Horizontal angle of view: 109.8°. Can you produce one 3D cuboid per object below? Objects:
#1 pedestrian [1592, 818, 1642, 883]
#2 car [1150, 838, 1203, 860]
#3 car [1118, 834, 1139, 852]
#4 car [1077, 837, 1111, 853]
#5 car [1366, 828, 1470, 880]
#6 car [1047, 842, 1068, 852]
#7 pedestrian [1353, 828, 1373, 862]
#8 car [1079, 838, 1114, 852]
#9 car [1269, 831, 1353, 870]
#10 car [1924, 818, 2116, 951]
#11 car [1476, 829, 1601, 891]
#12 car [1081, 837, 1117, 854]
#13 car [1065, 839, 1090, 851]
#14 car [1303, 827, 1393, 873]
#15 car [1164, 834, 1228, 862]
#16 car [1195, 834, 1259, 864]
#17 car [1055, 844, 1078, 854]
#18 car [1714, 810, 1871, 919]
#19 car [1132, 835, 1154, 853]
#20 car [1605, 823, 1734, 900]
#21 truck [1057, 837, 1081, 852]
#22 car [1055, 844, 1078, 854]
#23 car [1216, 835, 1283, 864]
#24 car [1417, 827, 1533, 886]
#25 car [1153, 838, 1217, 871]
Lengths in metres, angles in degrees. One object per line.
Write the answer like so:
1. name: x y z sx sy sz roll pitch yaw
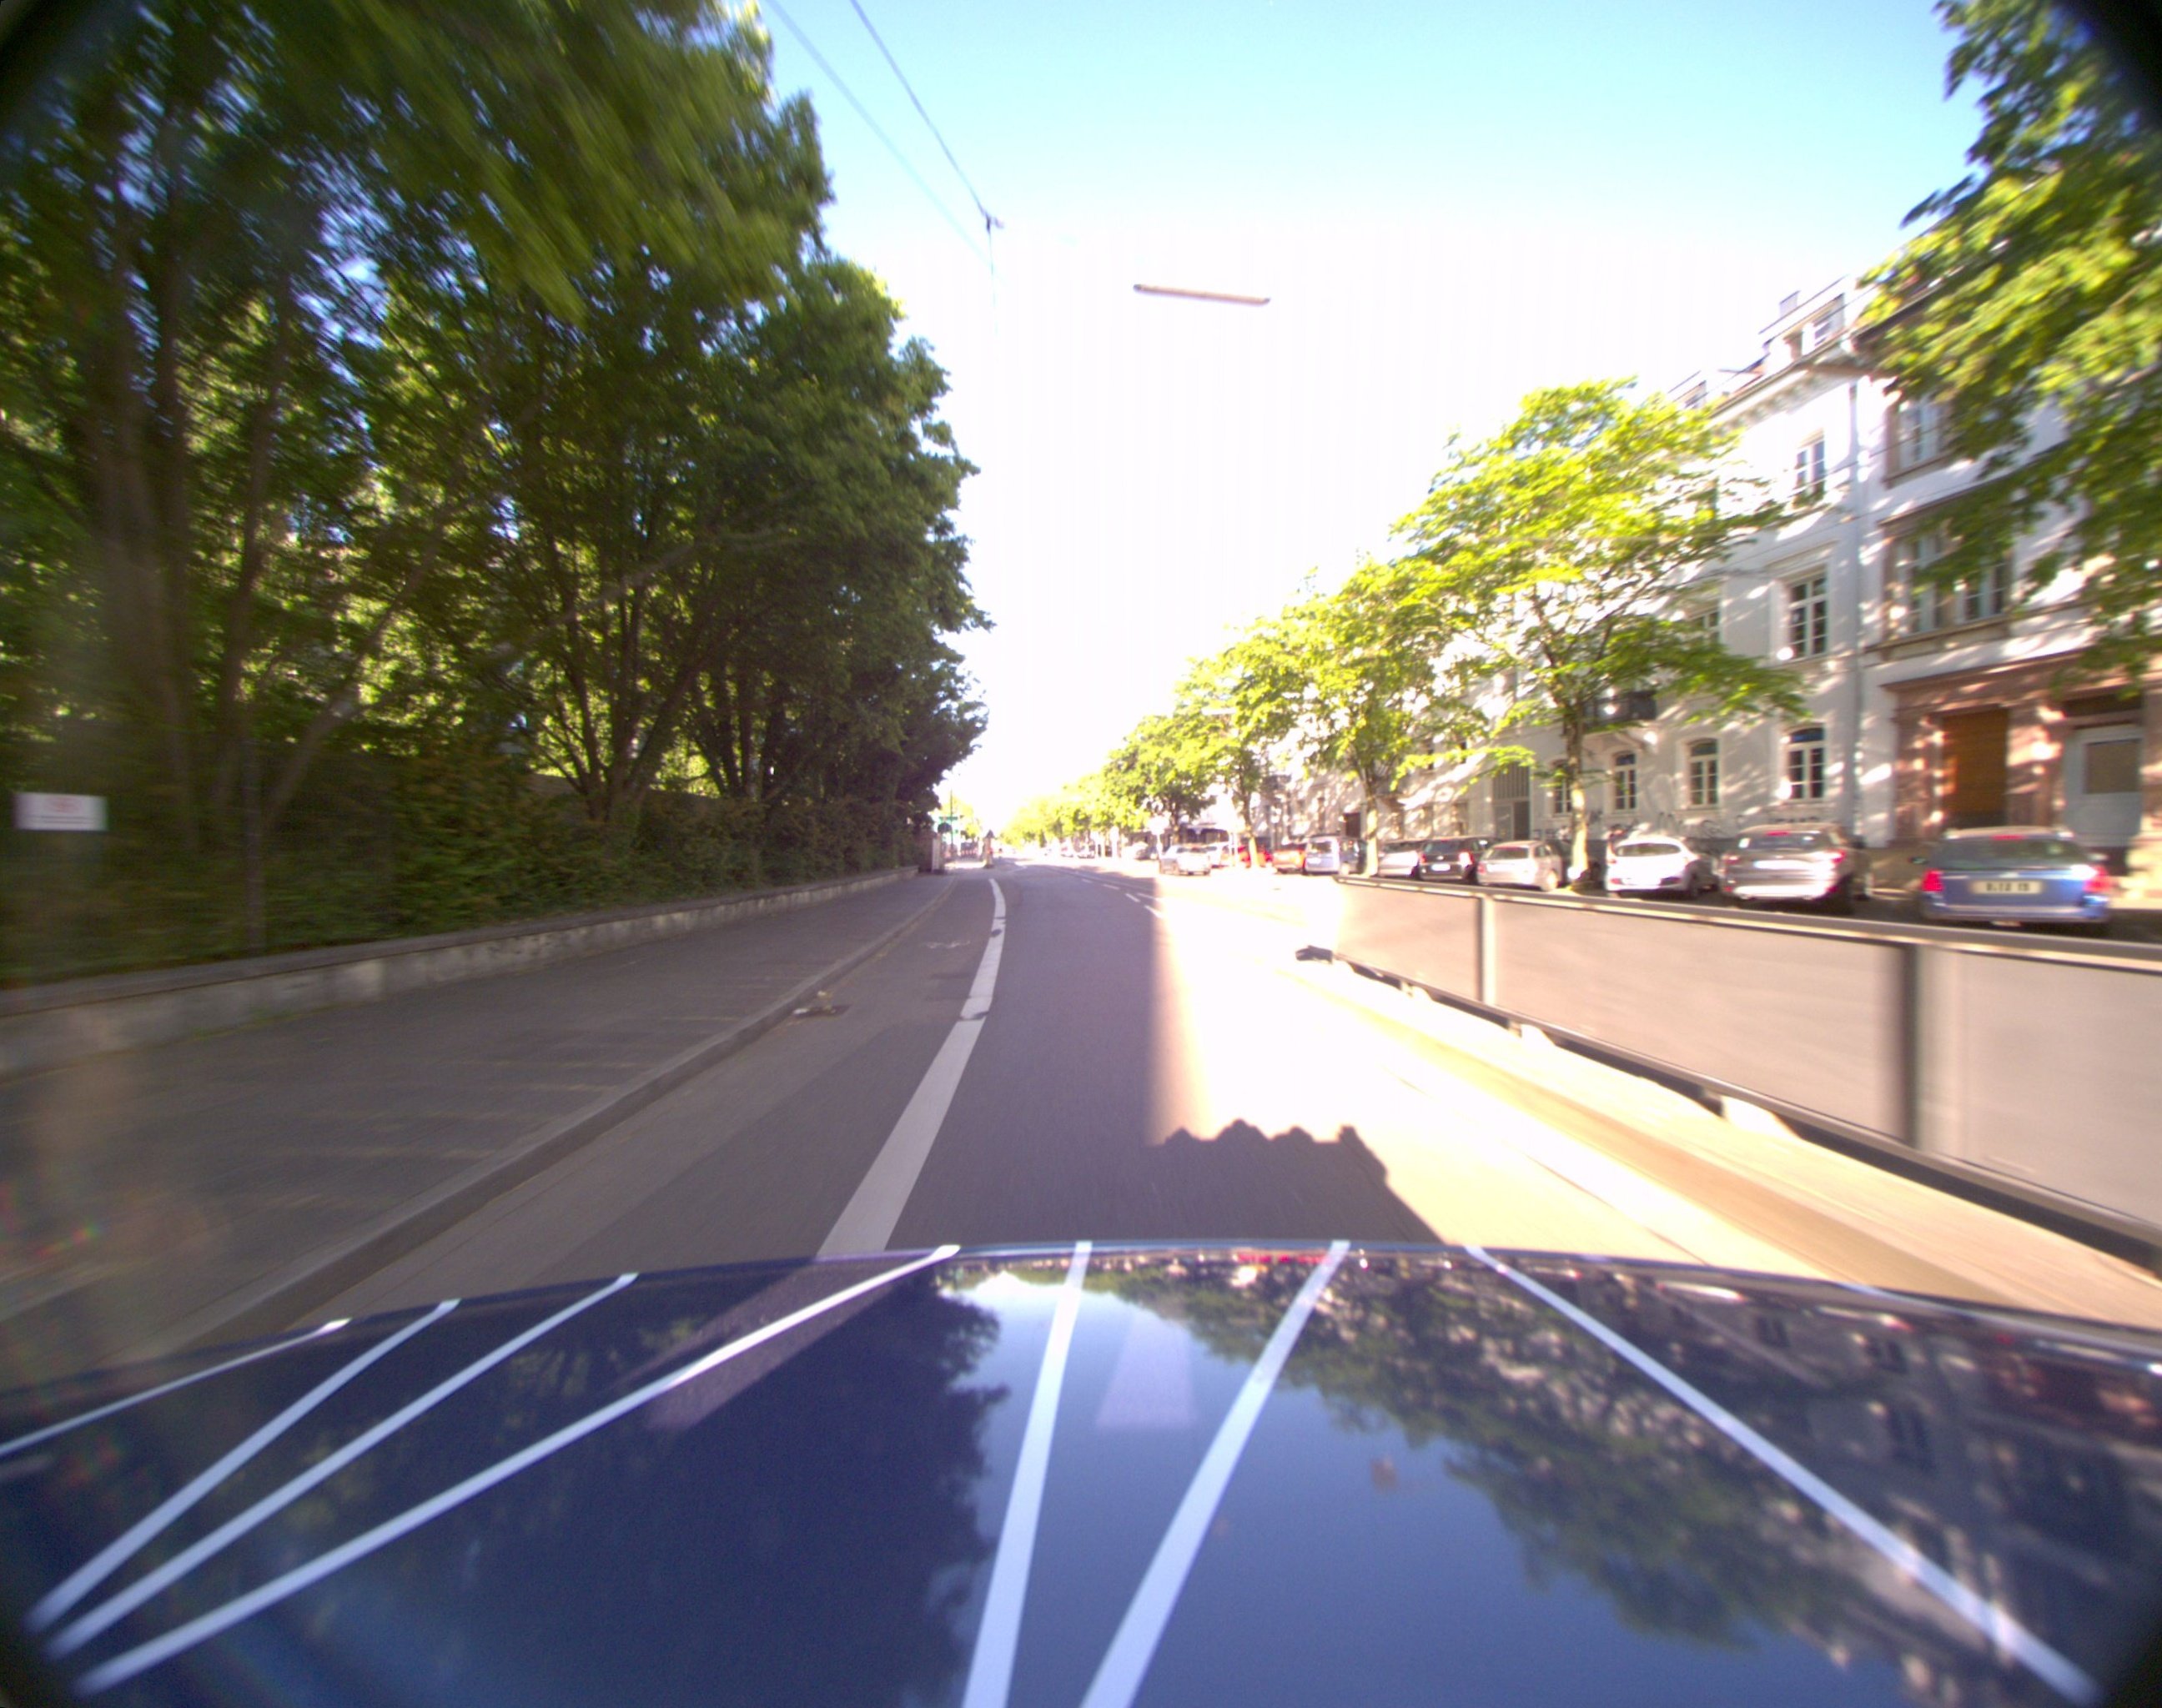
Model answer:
1. pedestrian: 14.784 -0.110 20.965 0.766 1.745 0.806 -1 2 -18
2. car: 7.455 -0.401 59.168 4.006 1.478 1.777 -5 3 -39
3. car: 5.289 -1.215 84.681 1.672 1.887 3.212 -1 1 -8
4. car: 1.744 -1.220 103.775 4.310 1.940 1.670 -4 2 -13
5. car: 12.411 -0.040 27.900 3.877 1.645 1.768 -4 3 -36
6. car: -4.732 -1.420 153.229 3.774 1.585 1.670 -4 2 -13
7. pedestrian: 14.292 -0.480 38.496 0.643 1.687 0.870 -1 2 -3
8. car: 1.969 -1.165 96.969 4.103 1.561 1.670 -4 2 -13
9. car: 11.395 -0.193 37.552 4.207 1.627 1.738 -5 2 -36
10. car: 14.402 0.347 11.844 3.992 1.608 1.630 -5 3 -42
11. car: 13.362 0.118 22.115 3.828 1.477 1.766 -5 3 -36
12. car: 2.364 -1.096 100.113 4.310 1.940 1.670 -4 2 -13
13. car: -0.558 -1.478 122.723 3.774 1.585 1.670 -4 2 -13
14. car: 12.194 -0.240 34.586 4.207 1.789 1.781 -5 4 -36
15. car: 8.393 -0.446 55.370 4.365 1.705 1.944 -5 3 -31
16. car: 9.661 -0.355 50.184 4.207 1.715 1.780 -5 3 -40
17. car: -2.673 -0.978 136.974 3.774 1.585 1.670 -4 2 -13
18. car: 14.356 0.106 15.256 4.293 1.714 1.703 -6 4 -39
19. car: 6.569 -1.068 80.572 1.672 1.887 3.212 -1 1 -8
20. car: 14.283 0.135 18.399 3.285 1.524 1.703 -6 3 -39
21. truck: -2.133 -1.612 130.288 3.773 2.410 1.671 -4 2 -8
22. car: -2.562 -0.852 133.859 3.774 1.585 1.670 -4 2 -13
23. car: 10.520 -0.279 47.262 4.207 1.549 1.636 -4 3 -36
24. car: 12.815 0.027 24.643 3.877 1.645 1.768 -4 3 -36
25. car: 5.185 -0.016 38.554 1.877 1.592 4.421 -1 1 -11
